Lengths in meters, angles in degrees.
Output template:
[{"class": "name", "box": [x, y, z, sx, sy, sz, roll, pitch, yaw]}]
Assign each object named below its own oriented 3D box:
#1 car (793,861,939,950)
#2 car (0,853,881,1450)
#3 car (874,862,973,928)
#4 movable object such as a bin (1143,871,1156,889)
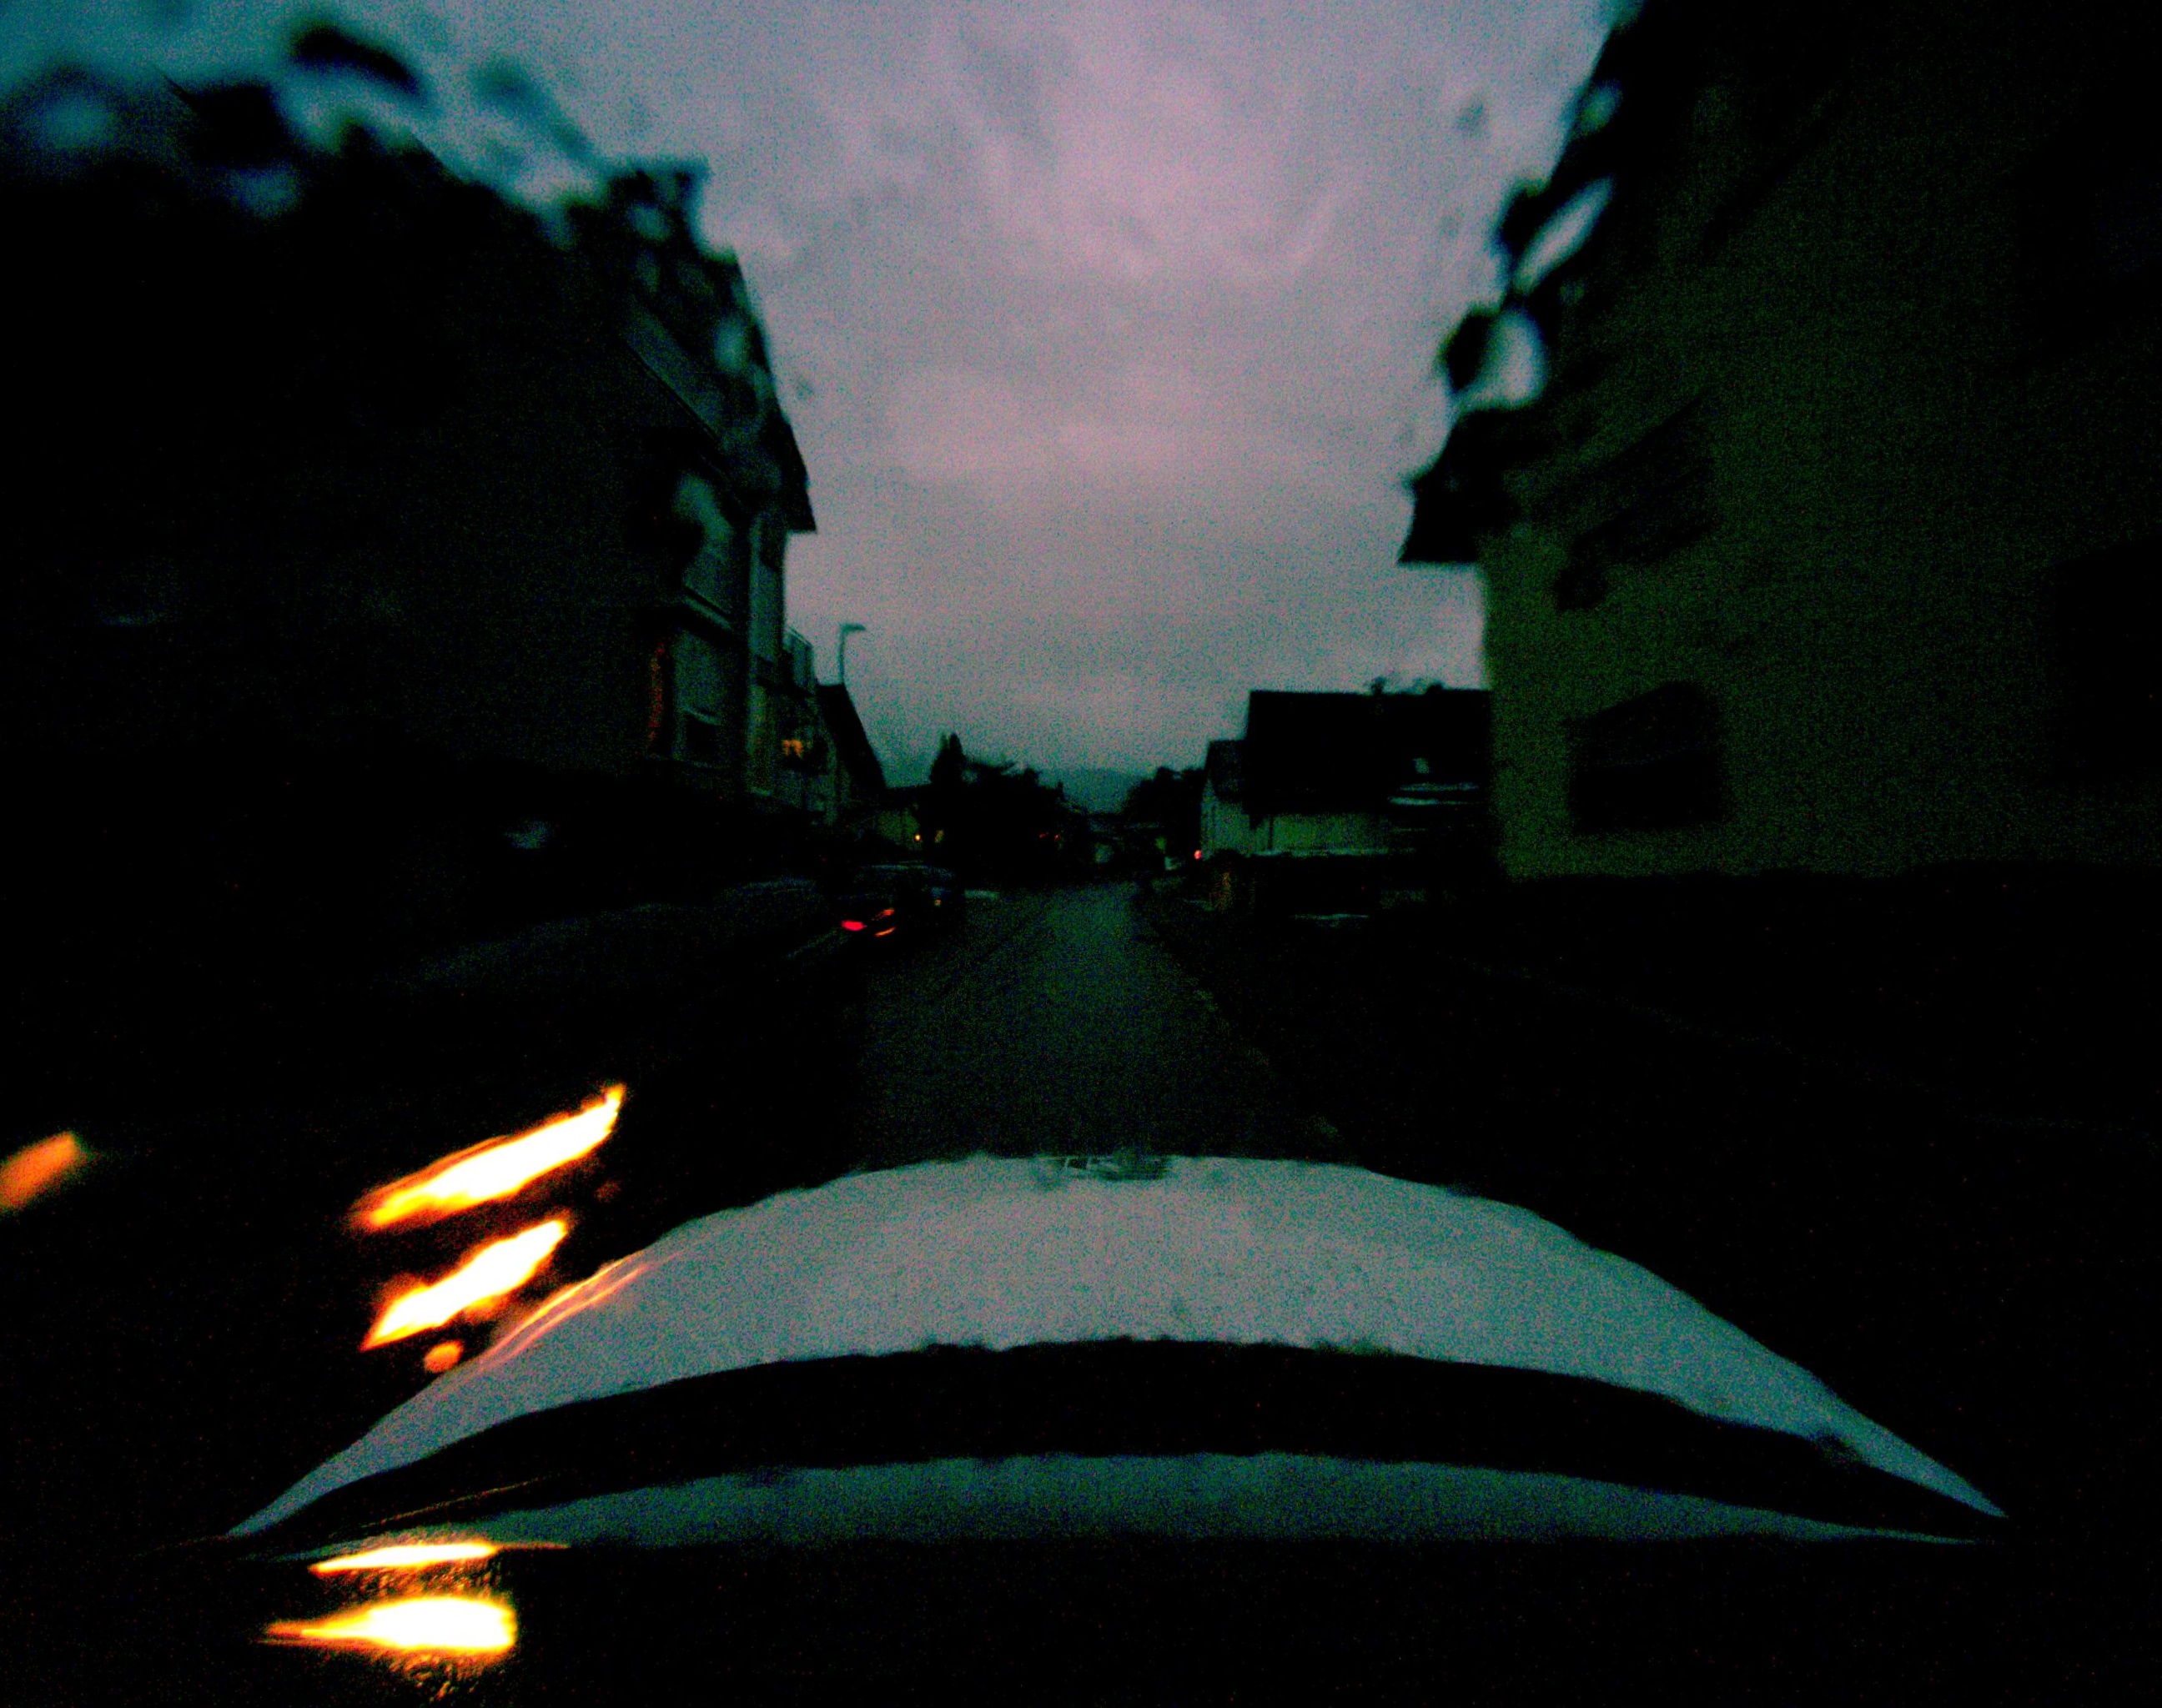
[{"class": "car", "box": [-3.815, 0.860, 15.111, 1.659, 1.418, 3.690, 1, -1, 0]}, {"class": "car", "box": [-2.416, 0.777, 4.306, 1.769, 1.495, 4.375, -1, 0, -3]}, {"class": "car", "box": [-3.724, 0.915, 19.896, 1.662, 1.410, 3.913, 0, 0, 0]}, {"class": "movable object such as a bin", "box": [3.670, 1.402, 43.638, 0.611, 0.946, 0.596, -4, -3, 7]}]
